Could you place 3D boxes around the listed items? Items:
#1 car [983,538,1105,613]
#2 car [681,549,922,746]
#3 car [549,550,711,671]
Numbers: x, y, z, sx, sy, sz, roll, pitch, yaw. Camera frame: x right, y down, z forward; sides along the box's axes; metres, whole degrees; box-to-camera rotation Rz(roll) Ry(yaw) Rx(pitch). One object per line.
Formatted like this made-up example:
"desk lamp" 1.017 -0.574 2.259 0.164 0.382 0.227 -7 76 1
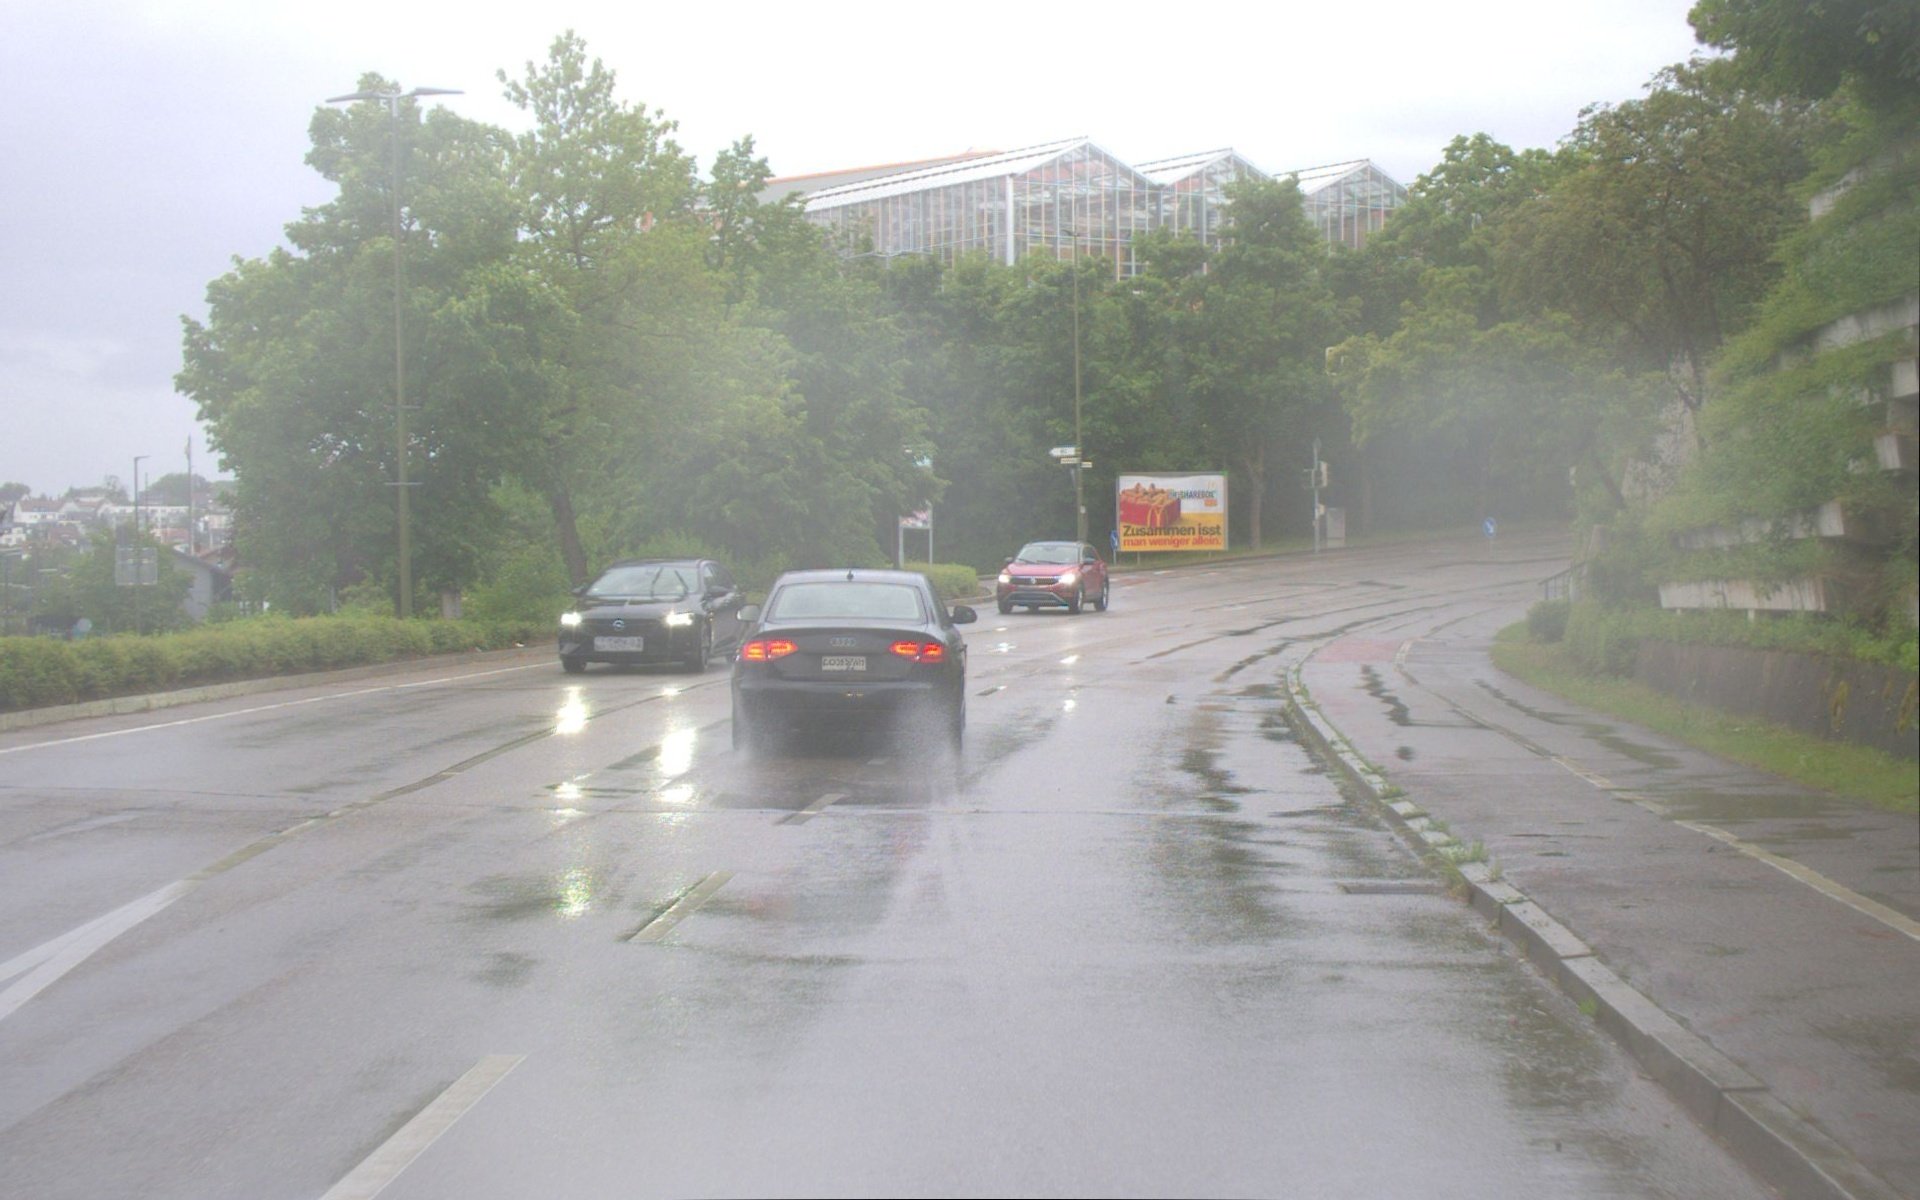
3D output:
"car" 1.858 -0.565 74.781 1.755 1.530 3.997 1 2 15
"car" -1.290 0.320 27.235 1.754 1.390 4.001 0 2 -4
"car" -4.280 0.104 45.175 1.723 1.457 4.544 2 1 -1
